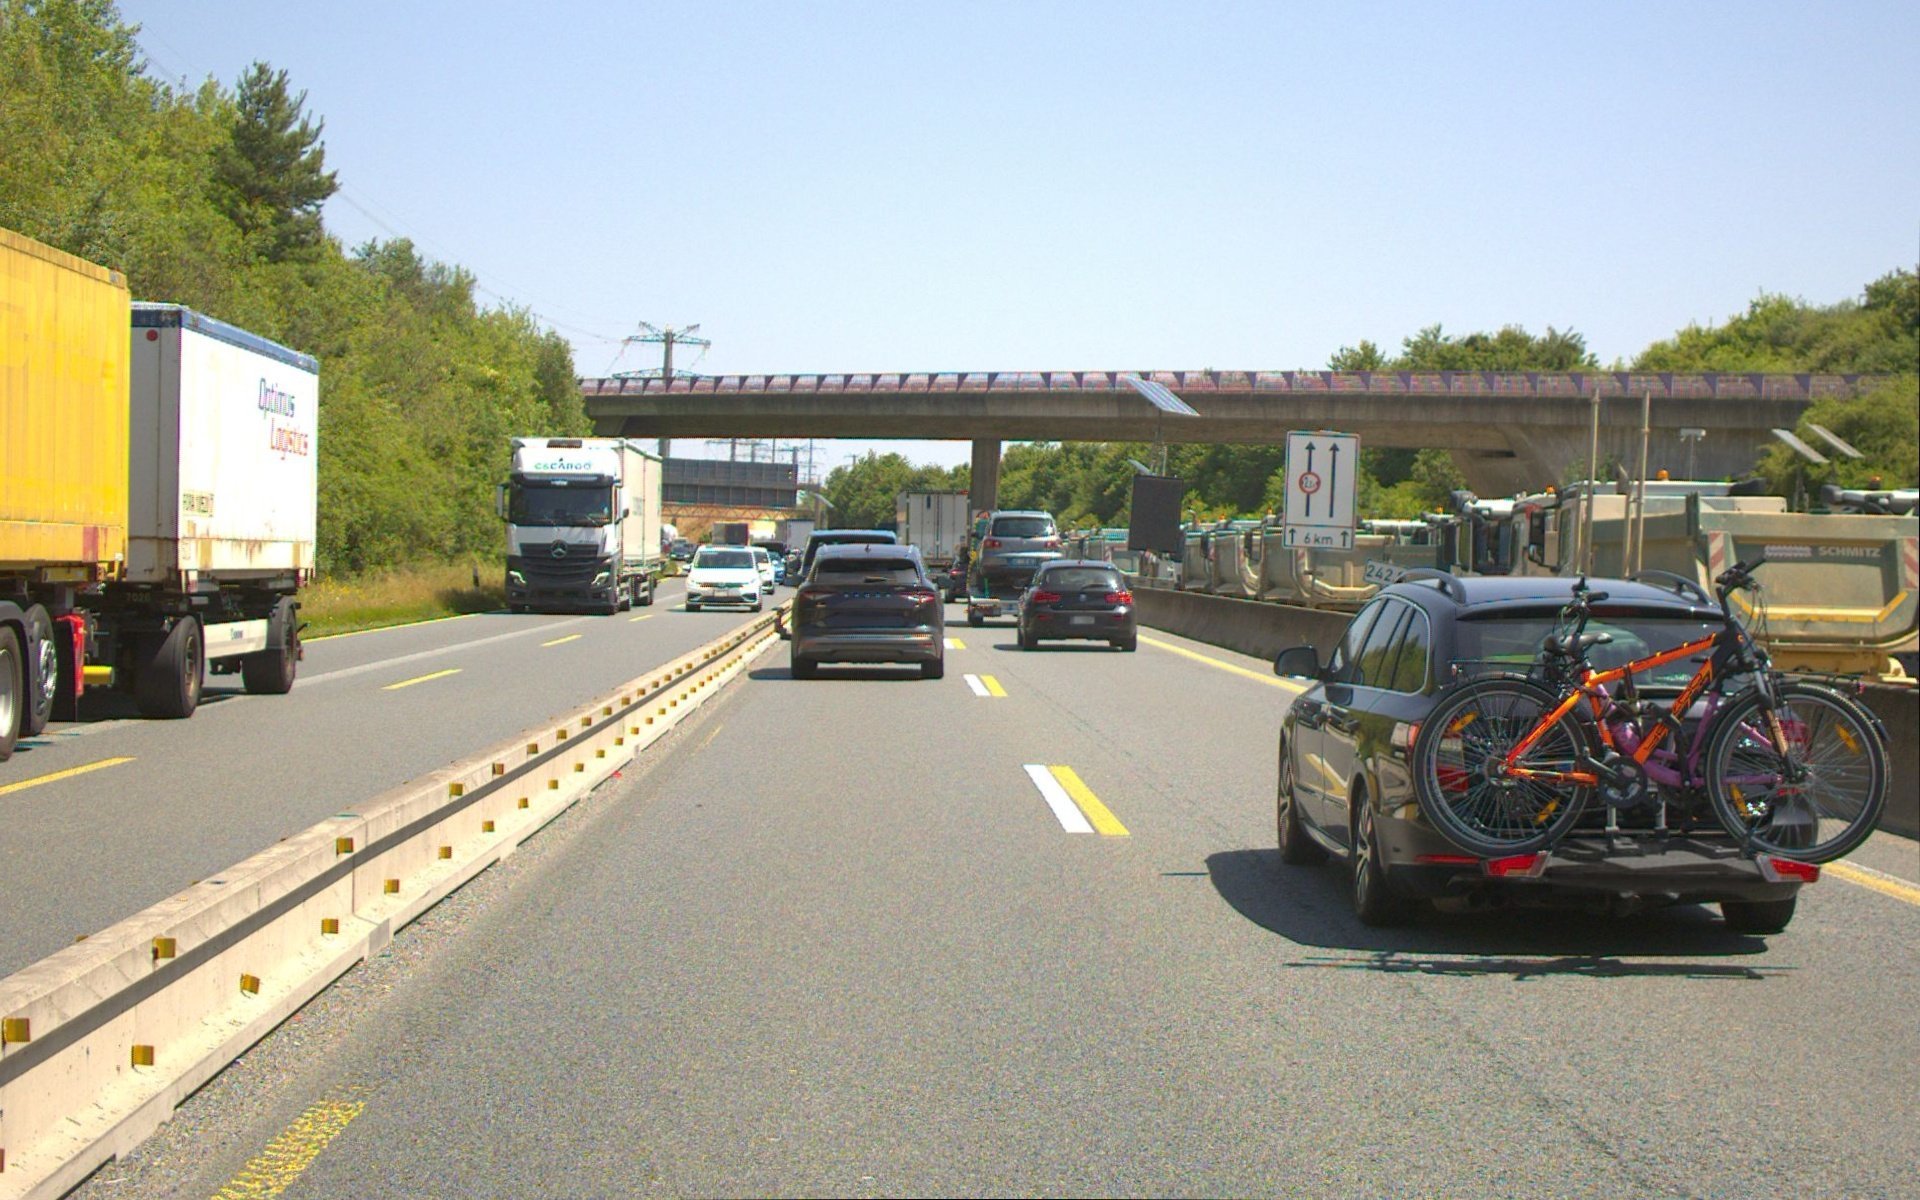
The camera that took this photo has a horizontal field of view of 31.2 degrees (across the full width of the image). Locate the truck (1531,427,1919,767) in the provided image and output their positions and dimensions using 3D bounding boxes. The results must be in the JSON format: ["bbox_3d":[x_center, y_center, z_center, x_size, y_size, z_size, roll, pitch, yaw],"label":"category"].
[{"bbox_3d":[8.897,-0.100,40.387,2.533,3.499,9.097,1,1,-2],"label":"truck"}]

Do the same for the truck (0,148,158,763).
[{"bbox_3d":[-7.546,-0.959,21.690,2.649,3.978,9.651,3,1,-1],"label":"truck"}]

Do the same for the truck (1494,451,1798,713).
[{"bbox_3d":[9.986,-0.310,51.044,2.533,3.499,8.945,1,1,-1],"label":"truck"}]

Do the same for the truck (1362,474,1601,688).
[{"bbox_3d":[9.346,-0.397,62.718,2.538,3.545,9.603,1,1,-2],"label":"truck"}]

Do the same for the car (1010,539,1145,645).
[{"bbox_3d":[1.839,-0.154,54.992,1.899,1.580,4.276,1,1,-1],"label":"car"}]

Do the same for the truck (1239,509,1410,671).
[{"bbox_3d":[8.459,-0.300,80.964,2.687,3.545,9.603,1,1,-1],"label":"truck"}]

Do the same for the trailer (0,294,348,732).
[{"bbox_3d":[-7.666,-0.777,31.006,2.650,3.325,8.919,3,1,-1],"label":"trailer"}]

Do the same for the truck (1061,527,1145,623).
[{"bbox_3d":[5.920,-1.095,143.922,2.687,3.843,9.326,1,1,-2],"label":"truck"}]

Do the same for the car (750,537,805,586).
[{"bbox_3d":[-6.255,-1.317,118.076,1.762,1.626,4.297,1,0,-2],"label":"car"}]

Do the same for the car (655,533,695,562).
[{"bbox_3d":[-15.460,-2.838,186.703,1.793,1.520,4.531,2,1,-1],"label":"car"}]

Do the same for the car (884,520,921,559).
[{"bbox_3d":[-2.978,-3.131,178.556,1.899,1.962,4.276,1,1,-1],"label":"car"}]

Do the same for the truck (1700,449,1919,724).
[{"bbox_3d":[12.746,-0.216,48.072,2.687,3.499,8.381,1,1,-2],"label":"truck"}]

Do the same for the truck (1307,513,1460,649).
[{"bbox_3d":[11.157,-0.565,91.361,2.687,3.366,9.603,1,1,-1],"label":"truck"}]

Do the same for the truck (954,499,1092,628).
[{"bbox_3d":[1.263,-0.812,73.074,2.405,2.549,7.501,1,1,-3],"label":"truck"}]

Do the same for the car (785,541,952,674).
[{"bbox_3d":[-1.092,0.067,42.091,1.899,1.500,4.276,1,1,-1],"label":"car"}]

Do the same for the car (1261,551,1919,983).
[{"bbox_3d":[2.498,0.572,14.631,1.899,1.485,4.948,1,0,-1],"label":"car"}]

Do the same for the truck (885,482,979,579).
[{"bbox_3d":[-1.231,-2.879,143.178,3.292,3.832,10.111,1,1,-4],"label":"truck"}]

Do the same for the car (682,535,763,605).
[{"bbox_3d":[-5.834,-0.740,84.780,1.824,1.625,4.151,1,0,-2],"label":"car"}]

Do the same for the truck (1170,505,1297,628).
[{"bbox_3d":[8.260,-1.056,104.903,2.687,3.545,9.326,1,1,-2],"label":"truck"}]

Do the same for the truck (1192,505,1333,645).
[{"bbox_3d":[8.112,-0.712,93.183,2.687,3.545,9.407,1,1,-1],"label":"truck"}]

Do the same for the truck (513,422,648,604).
[{"bbox_3d":[-8.940,-2.038,81.865,2.409,3.978,10.353,2,1,-3],"label":"truck"}]

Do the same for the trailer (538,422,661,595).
[{"bbox_3d":[-9.489,-2.381,91.227,2.637,4.298,8.449,2,1,-3],"label":"trailer"}]

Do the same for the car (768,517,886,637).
[{"bbox_3d":[-2.278,-0.412,59.761,1.899,1.962,4.276,1,1,-1],"label":"car"}]

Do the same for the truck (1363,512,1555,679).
[{"bbox_3d":[11.367,-0.175,79.201,2.687,3.545,9.603,1,1,-2],"label":"truck"}]

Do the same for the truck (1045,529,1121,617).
[{"bbox_3d":[5.552,-1.261,156.410,2.687,3.830,9.326,1,1,-2],"label":"truck"}]

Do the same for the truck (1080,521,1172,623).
[{"bbox_3d":[6.334,-1.118,132.421,2.687,3.748,9.326,1,1,-2],"label":"truck"}]

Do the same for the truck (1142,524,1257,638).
[{"bbox_3d":[7.855,-0.673,113.854,2.687,3.545,9.326,1,1,-2],"label":"truck"}]
